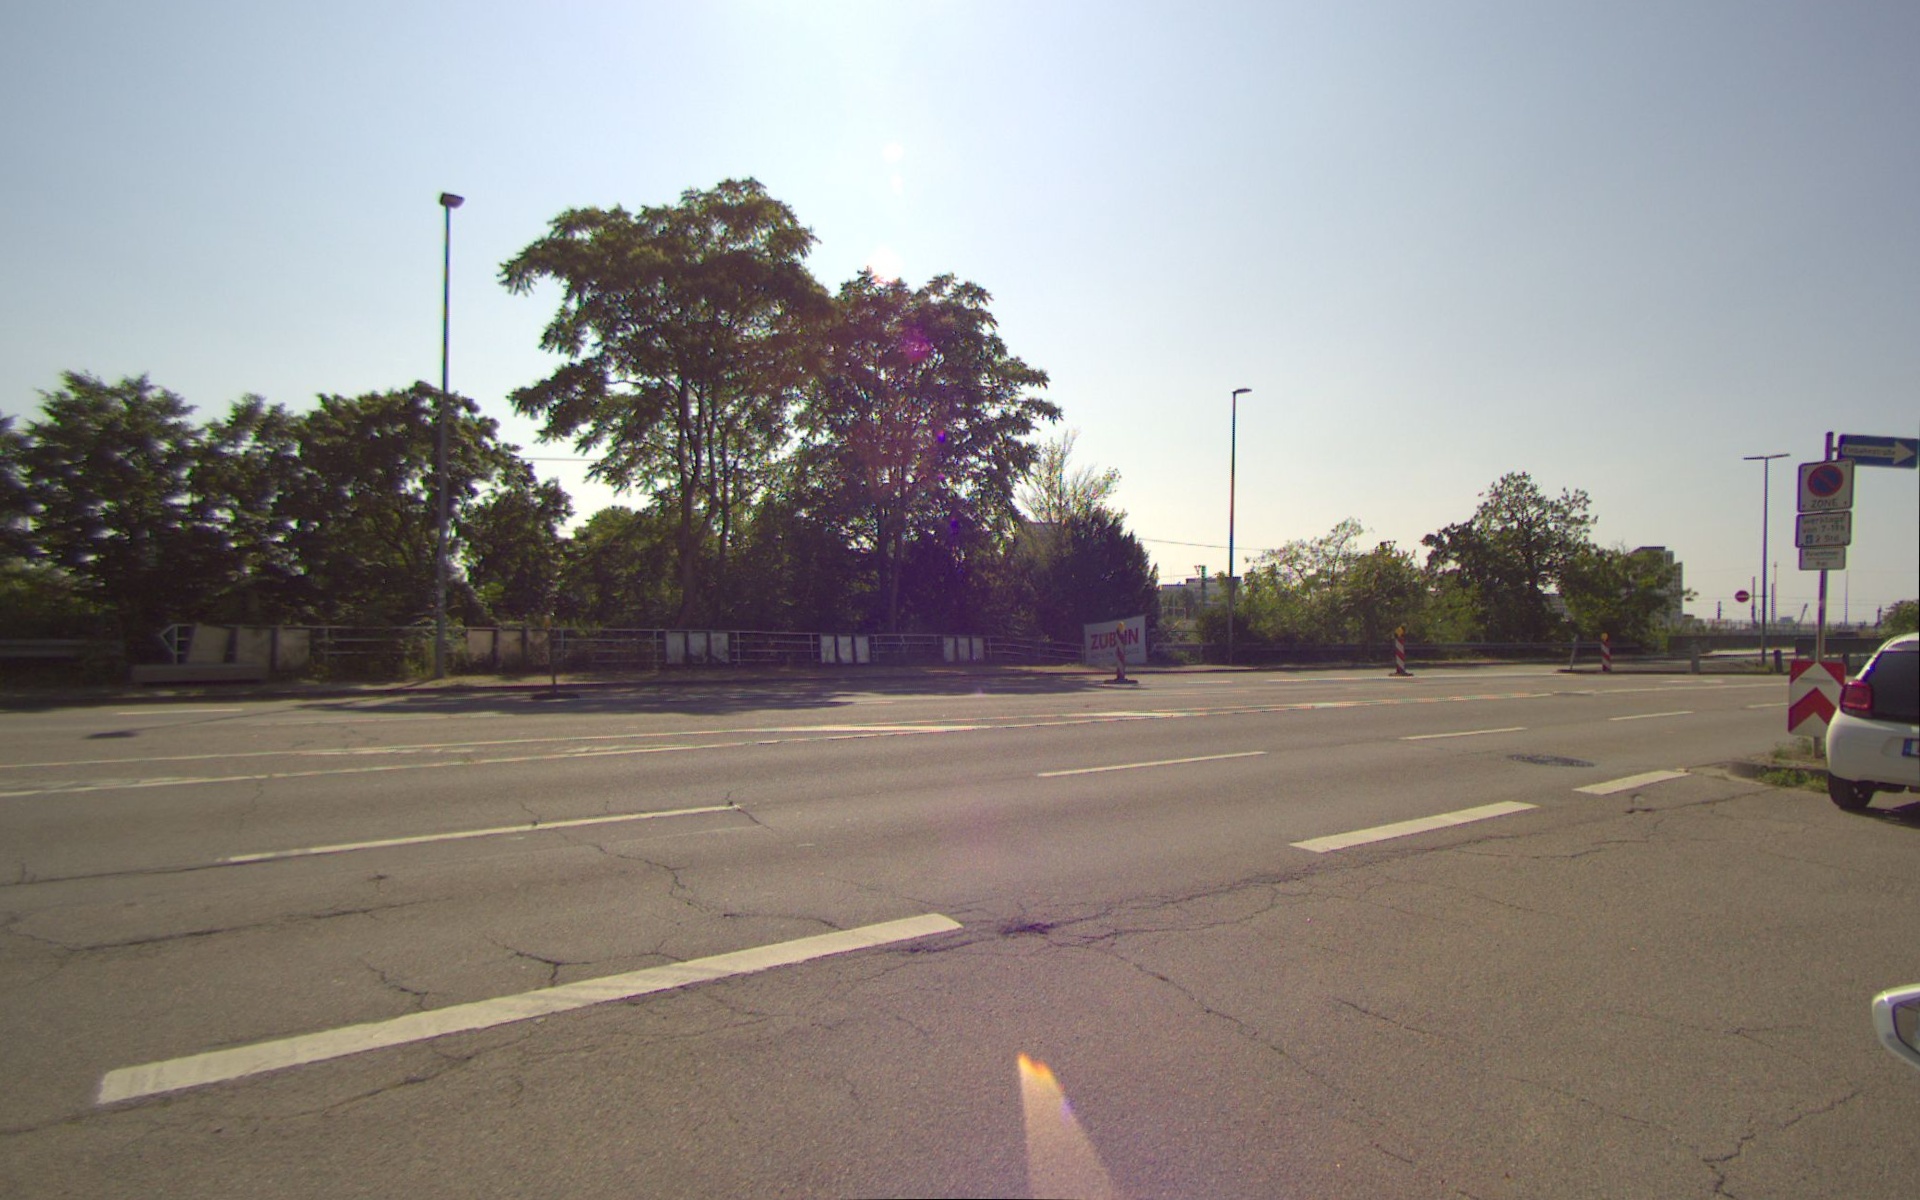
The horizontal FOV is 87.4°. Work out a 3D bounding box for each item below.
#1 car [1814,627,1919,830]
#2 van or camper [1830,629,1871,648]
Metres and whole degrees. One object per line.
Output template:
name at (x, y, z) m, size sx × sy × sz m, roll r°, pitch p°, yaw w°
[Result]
car at (8.863, 1.016, 8.369) m, size 3.420 × 1.525 × 1.612 m, roll 1°, pitch 0°, yaw -30°
van or camper at (69.785, 3.009, 78.689) m, size 4.586 × 1.368 × 1.456 m, roll 1°, pitch -1°, yaw -37°
